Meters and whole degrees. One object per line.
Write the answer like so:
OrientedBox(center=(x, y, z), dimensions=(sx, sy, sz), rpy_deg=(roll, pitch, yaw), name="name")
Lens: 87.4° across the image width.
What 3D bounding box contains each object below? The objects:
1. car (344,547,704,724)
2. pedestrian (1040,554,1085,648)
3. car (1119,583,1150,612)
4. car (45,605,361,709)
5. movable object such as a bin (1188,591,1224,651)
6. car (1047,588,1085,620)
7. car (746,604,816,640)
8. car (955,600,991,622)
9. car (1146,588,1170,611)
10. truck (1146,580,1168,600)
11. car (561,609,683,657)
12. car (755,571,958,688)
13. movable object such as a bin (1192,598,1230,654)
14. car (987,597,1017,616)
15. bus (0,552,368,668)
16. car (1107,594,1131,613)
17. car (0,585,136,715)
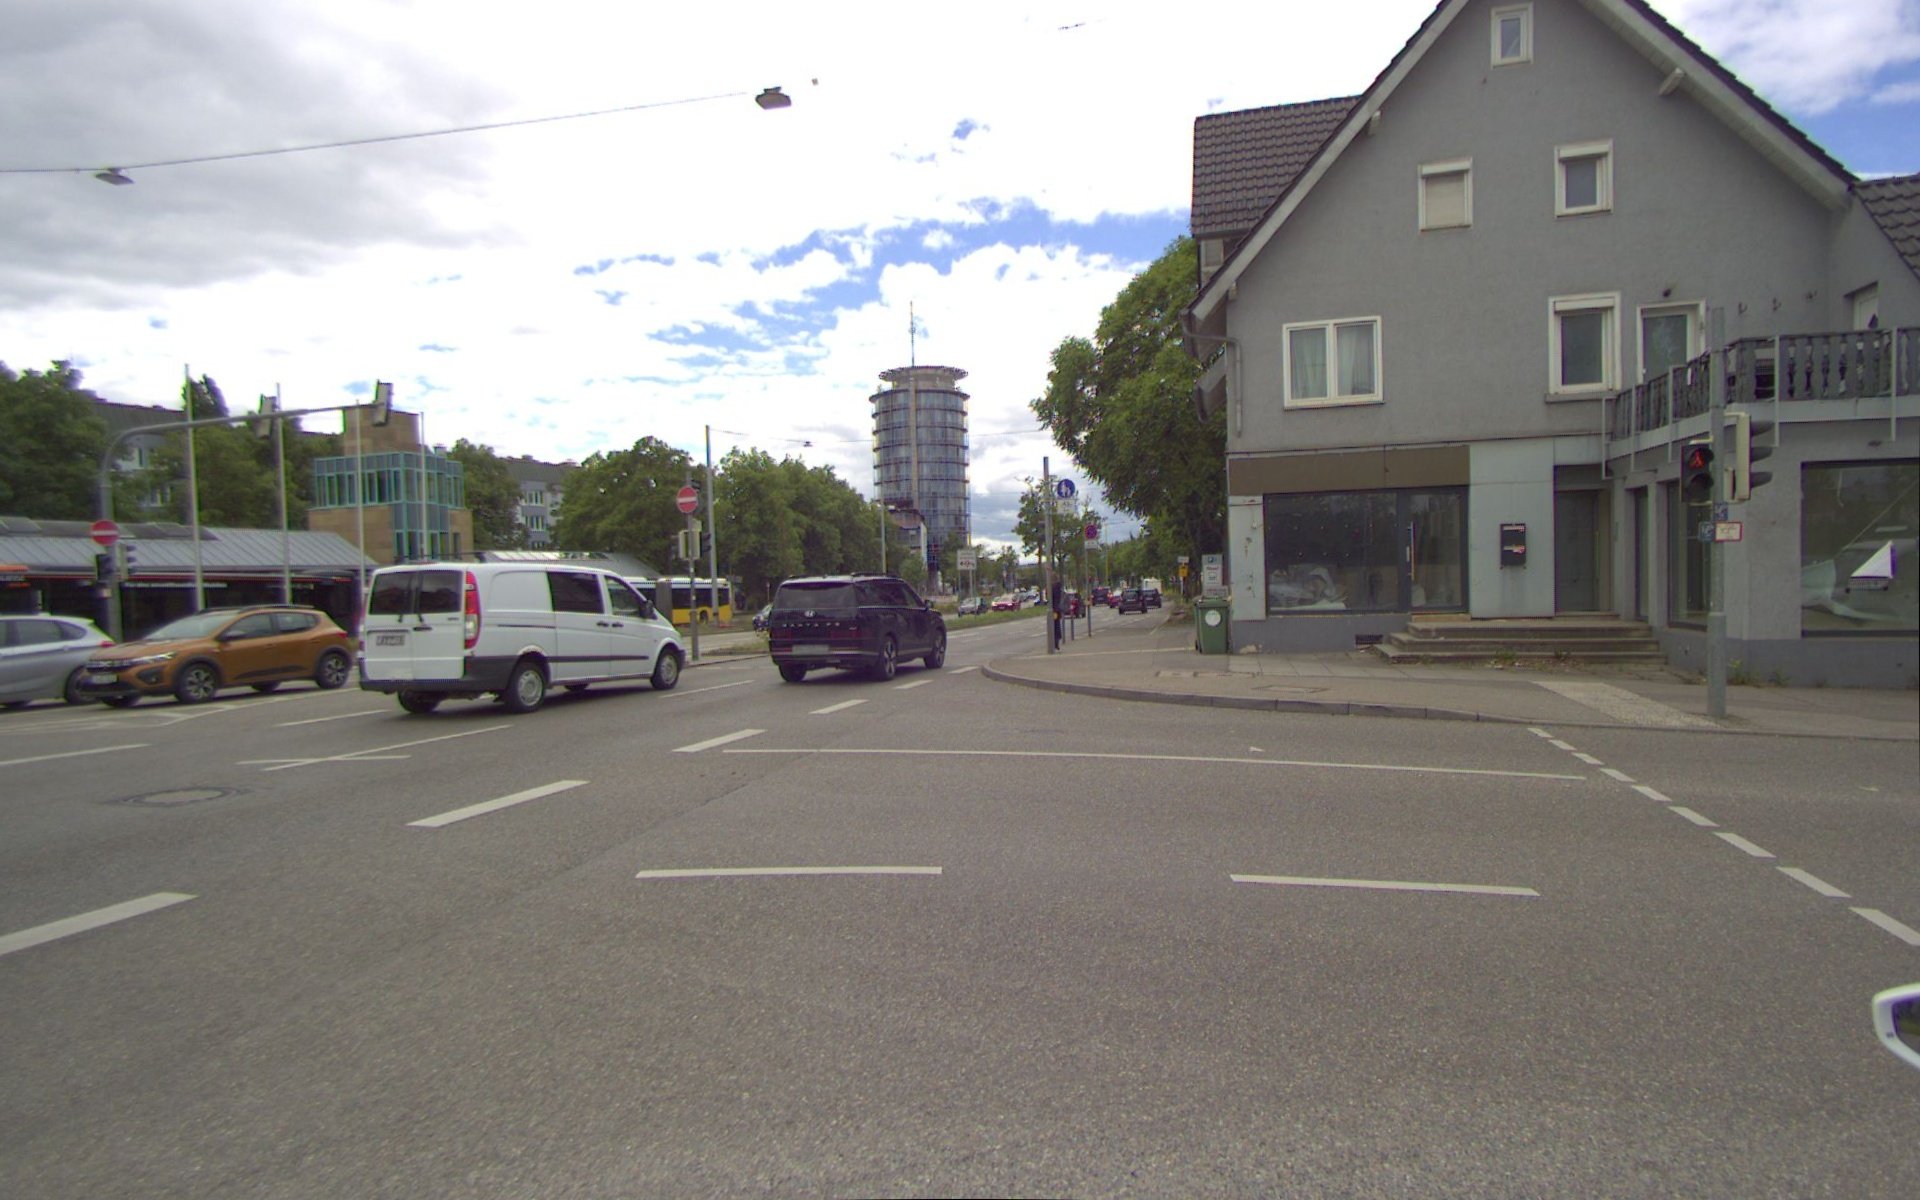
OrientedBox(center=(-5.800, 0.414, 14.280), dimensions=(1.842, 2.040, 5.077), rpy_deg=(-2, 0, 16), name="car")
OrientedBox(center=(2.283, 0.029, 22.296), dimensions=(0.759, 2.040, 0.877), rpy_deg=(-1, 0, 20), name="pedestrian")
OrientedBox(center=(11.154, -0.172, 63.976), dimensions=(1.716, 1.746, 4.002), rpy_deg=(-2, 0, 13), name="car")
OrientedBox(center=(-12.800, 0.894, 17.350), dimensions=(1.960, 1.536, 4.002), rpy_deg=(-2, 0, 12), name="car")
OrientedBox(center=(4.708, 0.390, 19.223), dimensions=(0.587, 1.116, 0.574), rpy_deg=(-1, 0, 8), name="movable object such as a bin")
OrientedBox(center=(6.258, 0.205, 58.858), dimensions=(1.717, 1.746, 4.002), rpy_deg=(-2, 0, 13), name="car")
OrientedBox(center=(-8.799, 1.053, 49.621), dimensions=(1.960, 1.595, 4.002), rpy_deg=(-2, 0, 13), name="car")
OrientedBox(center=(0.992, 0.800, 76.980), dimensions=(1.960, 1.595, 4.002), rpy_deg=(-2, 0, 12), name="car")
OrientedBox(center=(16.058, -0.043, 81.353), dimensions=(1.717, 1.746, 4.002), rpy_deg=(-2, 0, 13), name="car")
OrientedBox(center=(22.257, -1.092, 113.485), dimensions=(1.960, 2.195, 5.561), rpy_deg=(1, 0, 16), name="truck")
OrientedBox(center=(-11.911, 1.116, 35.782), dimensions=(1.960, 1.527, 4.494), rpy_deg=(-1, 0, 15), name="car")
OrientedBox(center=(-1.616, 0.438, 17.651), dimensions=(1.890, 1.775, 4.679), rpy_deg=(-1, 0, 17), name="car")
OrientedBox(center=(4.647, 0.474, 18.620), dimensions=(0.587, 1.000, 0.574), rpy_deg=(-1, 0, 8), name="movable object such as a bin")
OrientedBox(center=(3.830, 0.564, 90.801), dimensions=(1.960, 1.595, 4.002), rpy_deg=(-2, 0, 12), name="car")
OrientedBox(center=(-25.766, 0.279, 32.644), dimensions=(2.908, 3.175, 12.158), rpy_deg=(0, 0, 20), name="bus")
OrientedBox(center=(14.006, 0.304, 88.587), dimensions=(1.837, 1.505, 4.003), rpy_deg=(-3, -1, 7), name="car")
OrientedBox(center=(-16.066, 0.802, 15.773), dimensions=(1.959, 2.040, 4.571), rpy_deg=(-1, 0, 12), name="car")
